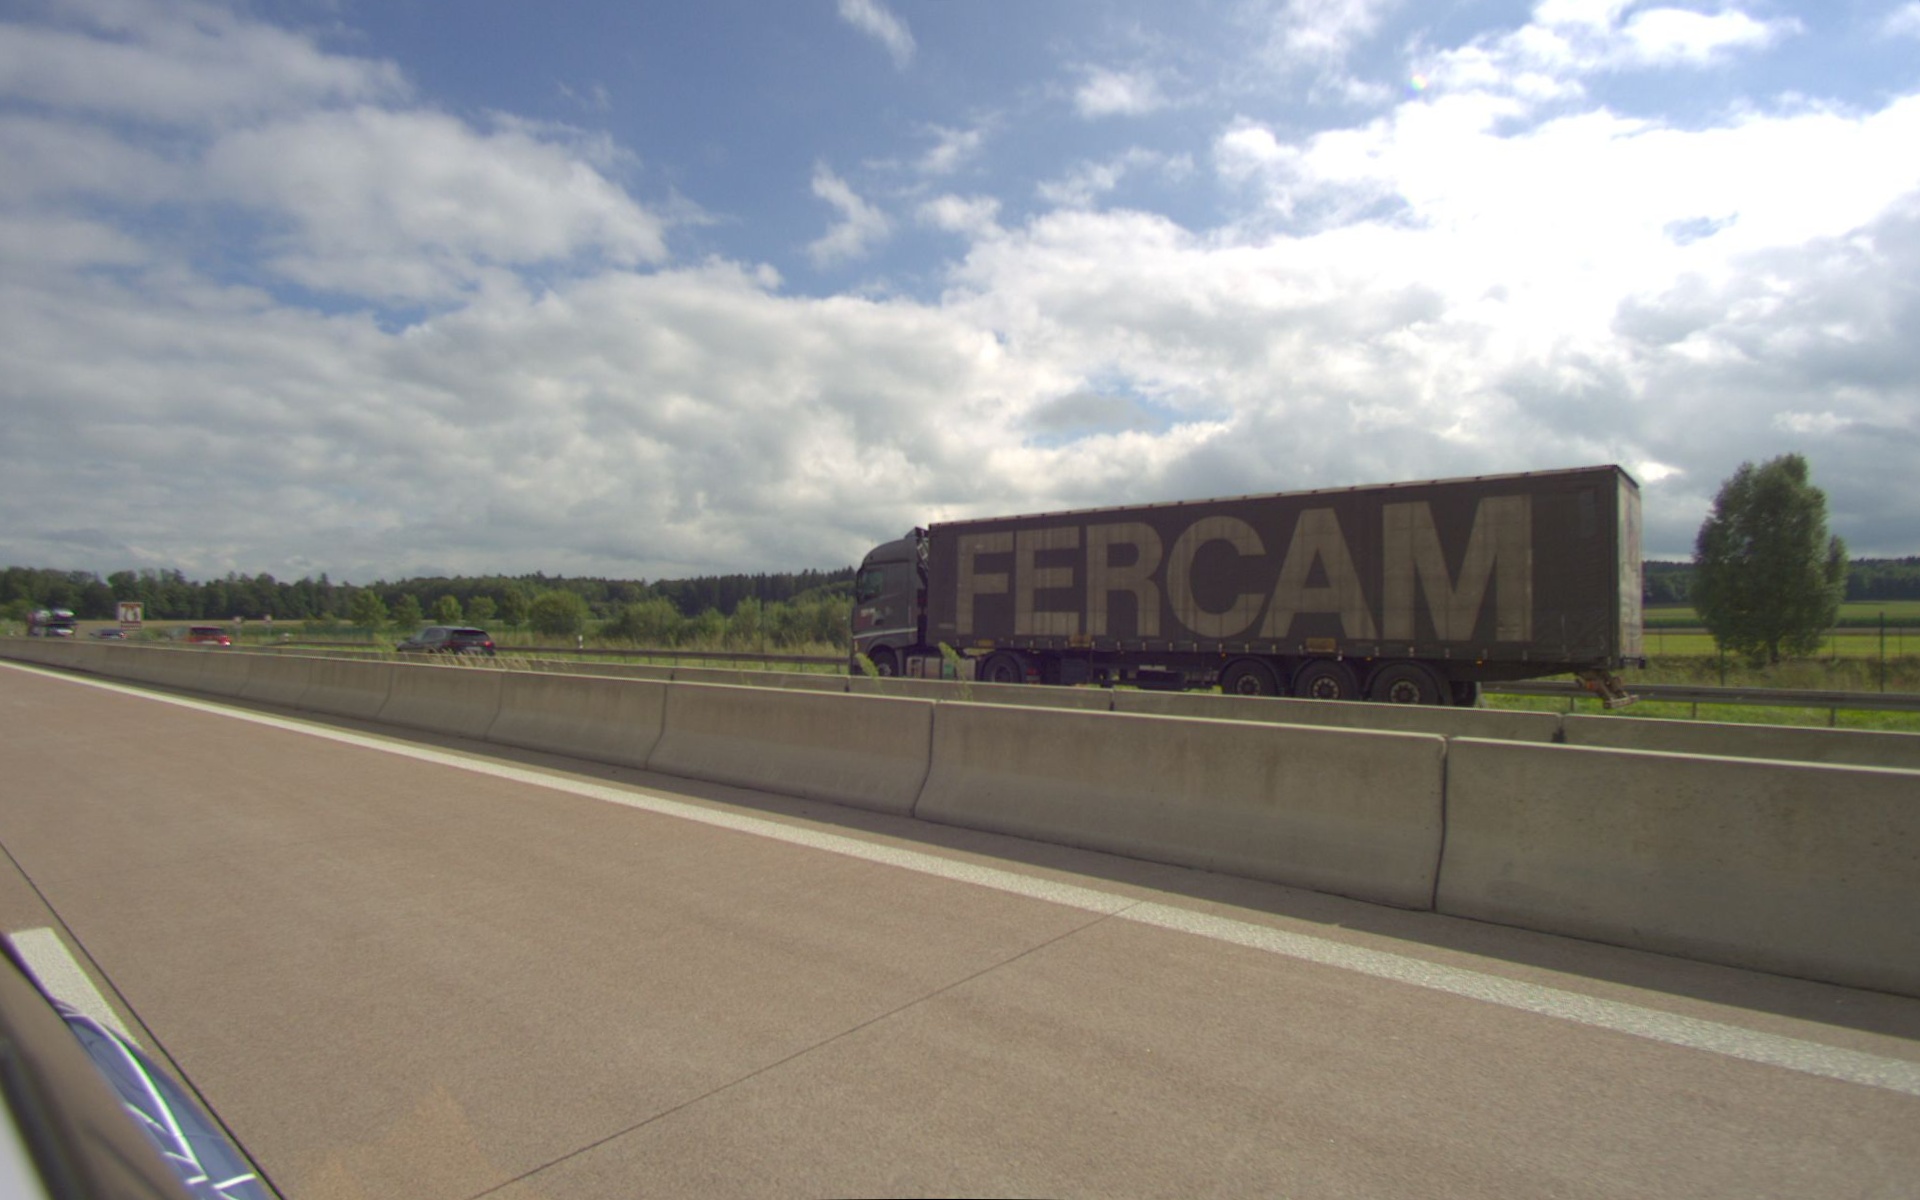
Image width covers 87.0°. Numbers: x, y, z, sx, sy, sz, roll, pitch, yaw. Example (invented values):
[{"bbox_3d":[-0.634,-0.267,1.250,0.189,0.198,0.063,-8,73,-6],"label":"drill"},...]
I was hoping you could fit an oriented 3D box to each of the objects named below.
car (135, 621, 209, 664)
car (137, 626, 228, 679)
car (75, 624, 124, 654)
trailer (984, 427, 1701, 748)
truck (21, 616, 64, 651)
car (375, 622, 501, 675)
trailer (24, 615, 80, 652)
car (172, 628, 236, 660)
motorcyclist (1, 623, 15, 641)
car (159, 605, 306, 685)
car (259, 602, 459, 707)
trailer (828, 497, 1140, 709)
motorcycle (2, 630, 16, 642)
[{"bbox_3d":[-23.001,1.233,29.520,2.756,1.160,1.210,-2,0,41],"label":"car"},{"bbox_3d":[-32.384,2.112,42.094,5.215,1.997,1.973,-1,0,41],"label":"car"},{"bbox_3d":[-63.267,2.845,74.371,5.049,2.029,1.965,-1,0,41],"label":"car"},{"bbox_3d":[6.056,-0.065,18.735,12.090,4.296,2.990,-2,0,42],"label":"trailer"},{"bbox_3d":[-112.078,4.053,123.601,7.728,4.008,3.160,-2,0,42],"label":"truck"},{"bbox_3d":[-17.697,1.590,34.174,5.215,1.586,1.973,-2,0,41],"label":"car"},{"bbox_3d":[-106.300,3.875,118.338,16.321,4.008,3.160,-2,0,42],"label":"trailer"},{"bbox_3d":[-43.019,2.482,57.563,4.488,1.675,1.952,-1,0,41],"label":"car"},{"bbox_3d":[-104.772,3.512,111.386,0.743,1.875,0.998,-2,0,42],"label":"motorcyclist"},{"bbox_3d":[-17.342,1.027,24.049,4.431,1.675,1.864,-2,0,41],"label":"car"},{"bbox_3d":[-11.048,0.926,18.505,4.080,1.675,1.952,-2,0,41],"label":"car"},{"bbox_3d":[0.373,0.107,23.818,7.006,4.280,2.976,-2,0,42],"label":"trailer"},{"bbox_3d":[-104.692,3.976,111.348,2.341,1.313,0.917,-2,0,42],"label":"motorcycle"}]
